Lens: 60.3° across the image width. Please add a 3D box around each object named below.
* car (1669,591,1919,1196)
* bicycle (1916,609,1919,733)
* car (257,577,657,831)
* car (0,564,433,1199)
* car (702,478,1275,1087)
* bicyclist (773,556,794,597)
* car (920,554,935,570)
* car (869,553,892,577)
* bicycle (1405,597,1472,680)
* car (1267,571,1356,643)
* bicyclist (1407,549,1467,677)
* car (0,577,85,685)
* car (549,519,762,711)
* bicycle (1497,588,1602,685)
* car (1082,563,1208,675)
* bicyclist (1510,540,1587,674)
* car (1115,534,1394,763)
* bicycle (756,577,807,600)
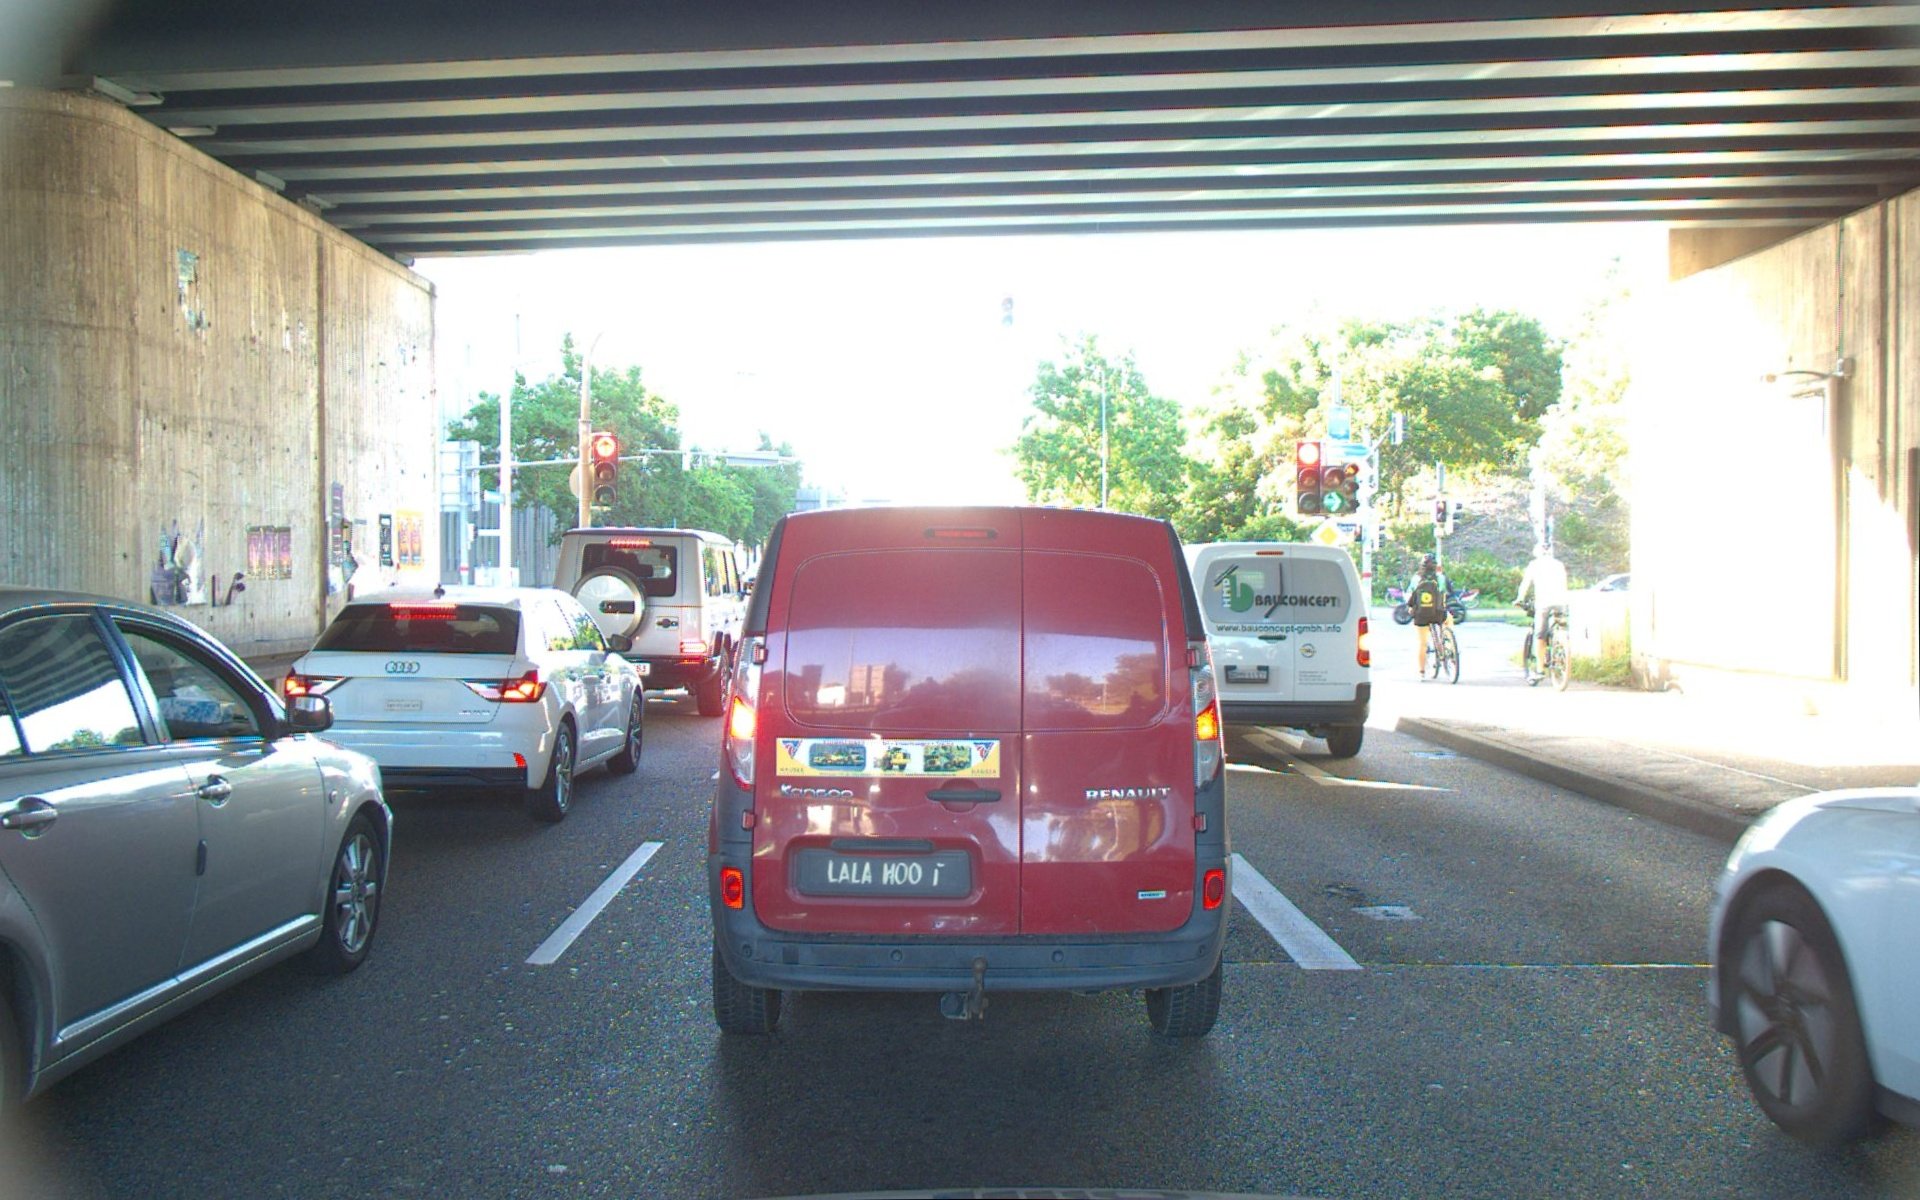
[{"bbox_3d":[3.261,0.741,3.075,1.711,1.481,4.662,1,0,-3],"label":"car"},{"bbox_3d":[6.331,0.644,8.993,0.750,1.166,2.469,-2,1,-2],"label":"bicycle"},{"bbox_3d":[-3.237,0.588,11.417,1.658,1.435,3.812,1,0,-2],"label":"car"},{"bbox_3d":[-3.018,0.637,4.782,1.662,1.480,4.397,1,0,-2],"label":"car"},{"bbox_3d":[0.060,0.536,6.936,1.684,1.795,3.999,1,0,-1],"label":"car"},{"bbox_3d":[-6.847,-0.919,64.121,0.739,1.569,0.696,0,0,0],"label":"bicyclist"},{"bbox_3d":[-4.346,-5.043,220.559,1.953,2.049,3.999,1,0,-1],"label":"car"},{"bbox_3d":[-7.420,-3.257,154.250,1.953,2.049,3.999,1,0,-1],"label":"car"},{"bbox_3d":[6.267,0.493,21.706,0.662,1.042,1.530,1,0,10],"label":"bicycle"},{"bbox_3d":[7.626,0.130,35.968,1.798,1.489,3.892,0,0,12],"label":"car"},{"bbox_3d":[6.284,0.168,21.803,0.663,1.657,0.644,1,0,10],"label":"bicyclist"},{"bbox_3d":[-15.481,0.490,25.457,1.814,1.645,4.362,-1,0,-2],"label":"car"},{"bbox_3d":[-3.337,0.146,18.812,1.777,1.937,3.812,1,0,-2],"label":"car"},{"bbox_3d":[7.115,0.425,20.029,0.667,1.132,1.603,0,0,-1],"label":"bicycle"},{"bbox_3d":[3.070,0.281,28.117,1.741,1.684,3.991,2,1,2],"label":"car"},{"bbox_3d":[7.120,0.083,20.036,0.656,1.589,0.735,0,0,-1],"label":"bicyclist"},{"bbox_3d":[2.640,0.360,15.828,1.777,1.865,4.299,1,1,-2],"label":"car"},{"bbox_3d":[-6.915,-0.434,64.116,1.913,0.889,0.699,0,0,-1],"label":"bicycle"}]
